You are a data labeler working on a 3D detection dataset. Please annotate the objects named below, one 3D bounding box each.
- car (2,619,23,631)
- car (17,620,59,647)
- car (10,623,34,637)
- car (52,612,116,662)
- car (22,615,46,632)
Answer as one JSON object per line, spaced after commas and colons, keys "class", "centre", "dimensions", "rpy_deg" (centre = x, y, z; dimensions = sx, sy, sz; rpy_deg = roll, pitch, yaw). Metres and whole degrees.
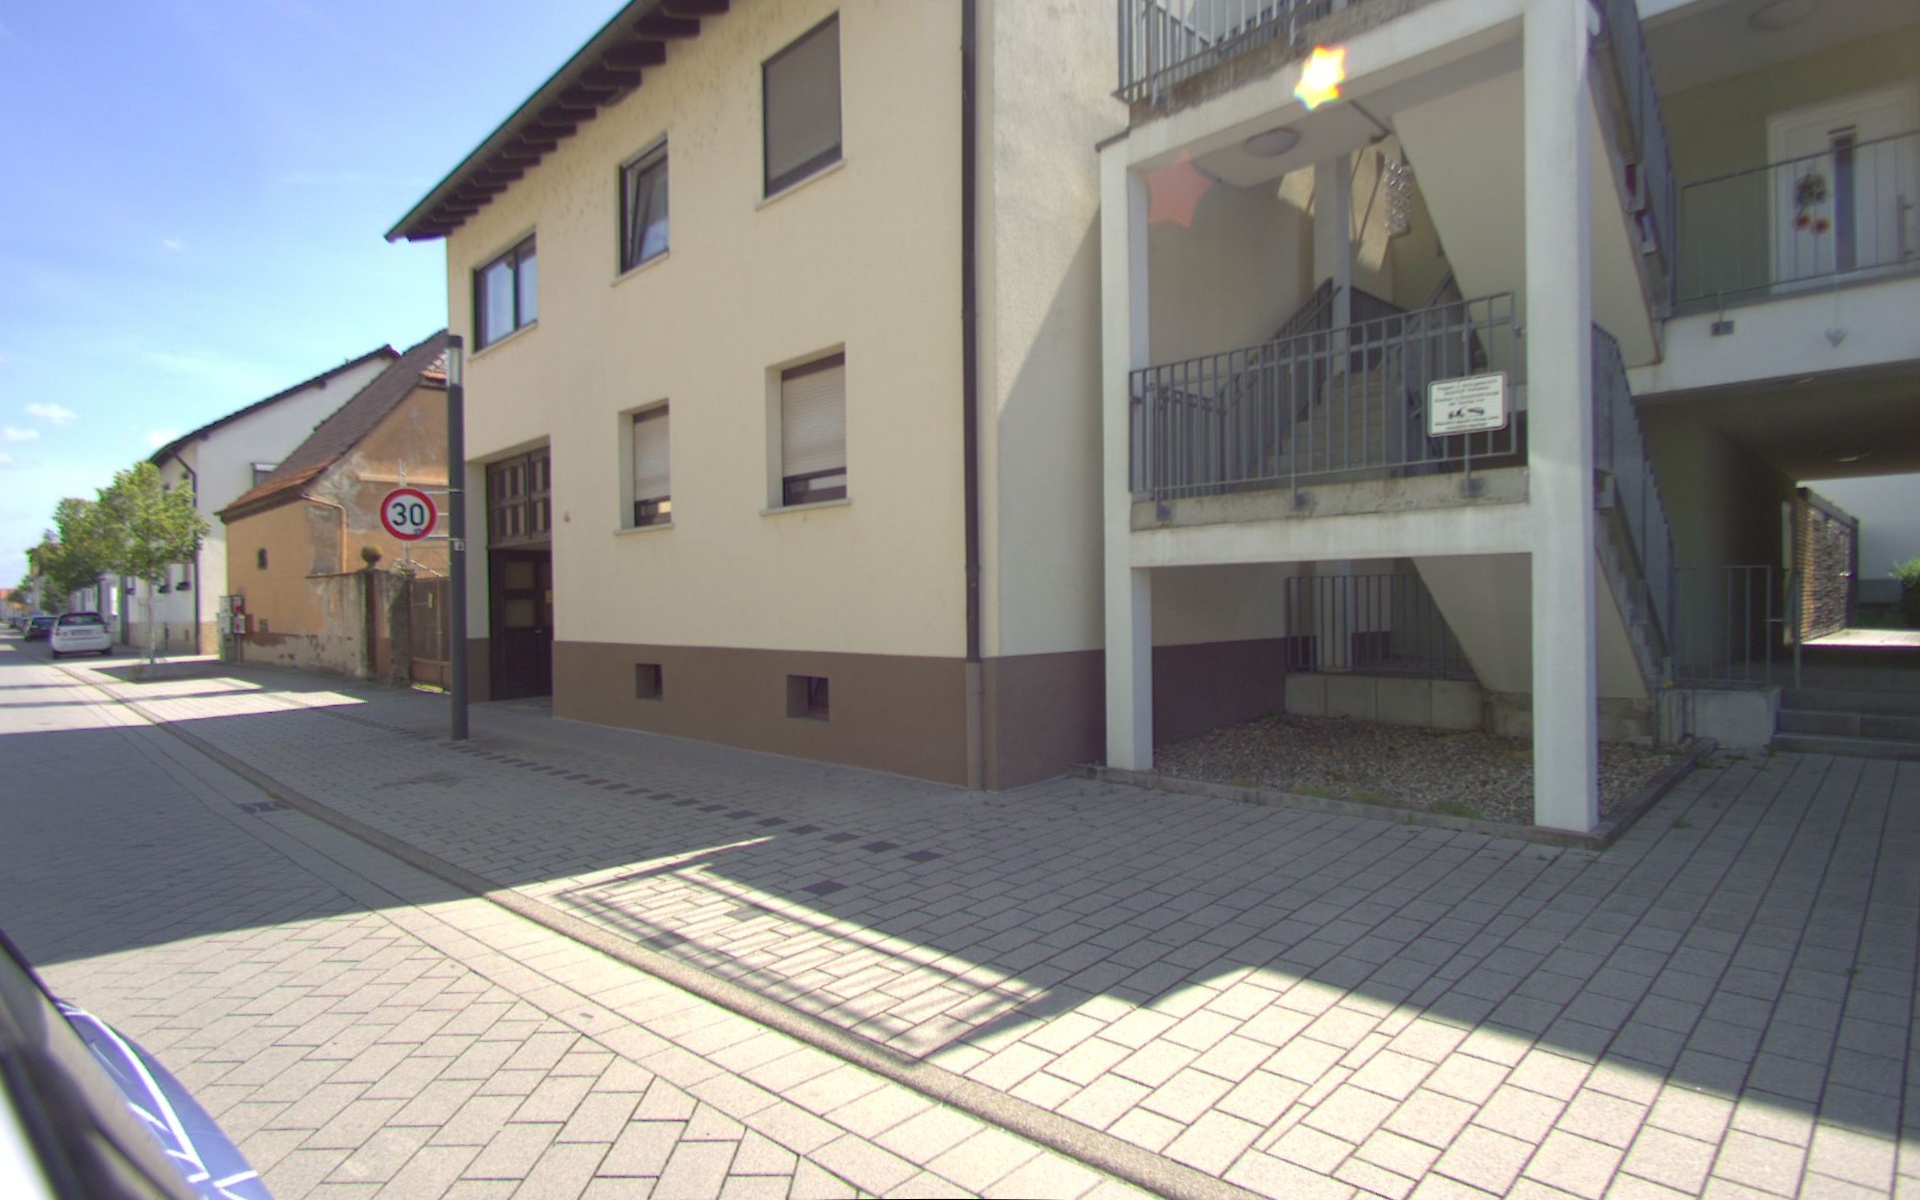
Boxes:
{"class": "car", "centre": [-126.914, 3.315, 135.527], "dimensions": [1.970, 1.592, 4.003], "rpy_deg": [0, -1, -44]}
{"class": "car", "centre": [-56.859, 2.045, 62.393], "dimensions": [3.956, 1.578, 1.728], "rpy_deg": [-2, -1, 44]}
{"class": "car", "centre": [-110.053, 3.517, 118.722], "dimensions": [4.001, 1.564, 1.829], "rpy_deg": [-2, -1, 44]}
{"class": "car", "centre": [-30.196, 1.250, 34.856], "dimensions": [1.553, 1.573, 2.825], "rpy_deg": [-3, 1, -42]}
{"class": "car", "centre": [-94.913, 2.421, 103.715], "dimensions": [1.825, 1.711, 4.004], "rpy_deg": [0, -1, -43]}
